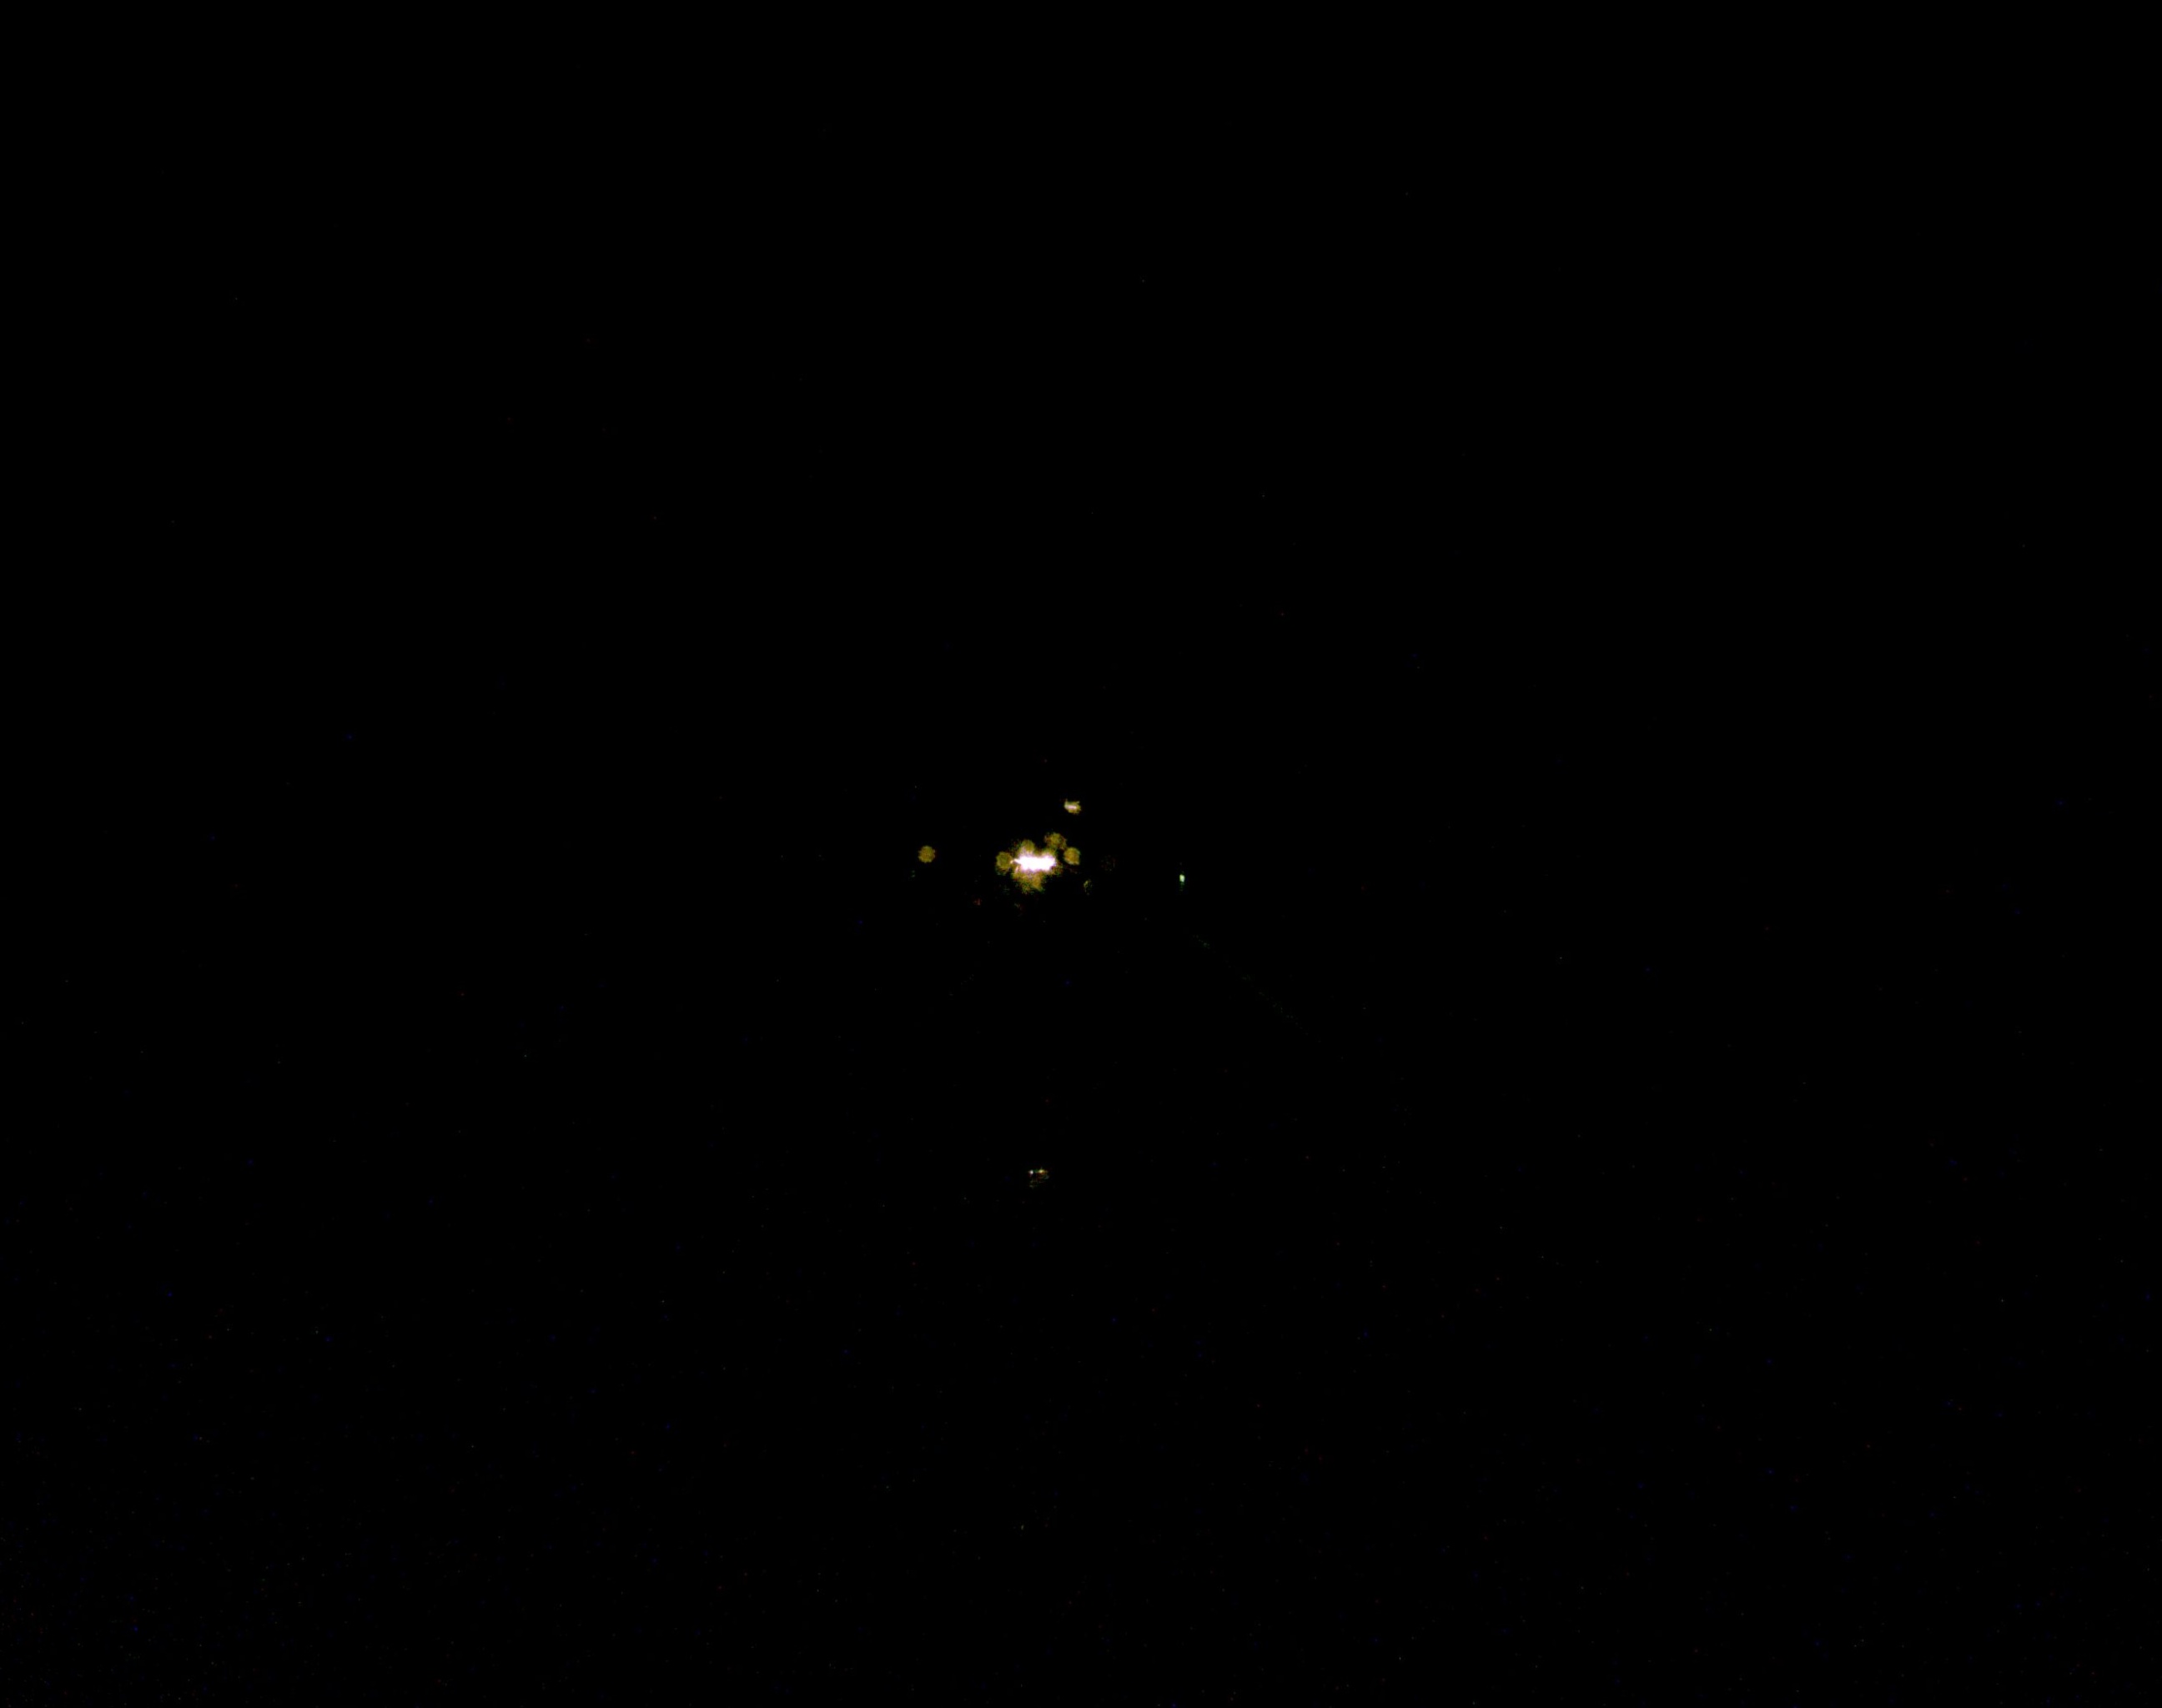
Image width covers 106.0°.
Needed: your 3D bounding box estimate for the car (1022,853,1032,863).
[{"bbox_3d":[-9.279,0.711,140.638,1.718,1.613,3.997,0,0,-3],"label":"car"}]
